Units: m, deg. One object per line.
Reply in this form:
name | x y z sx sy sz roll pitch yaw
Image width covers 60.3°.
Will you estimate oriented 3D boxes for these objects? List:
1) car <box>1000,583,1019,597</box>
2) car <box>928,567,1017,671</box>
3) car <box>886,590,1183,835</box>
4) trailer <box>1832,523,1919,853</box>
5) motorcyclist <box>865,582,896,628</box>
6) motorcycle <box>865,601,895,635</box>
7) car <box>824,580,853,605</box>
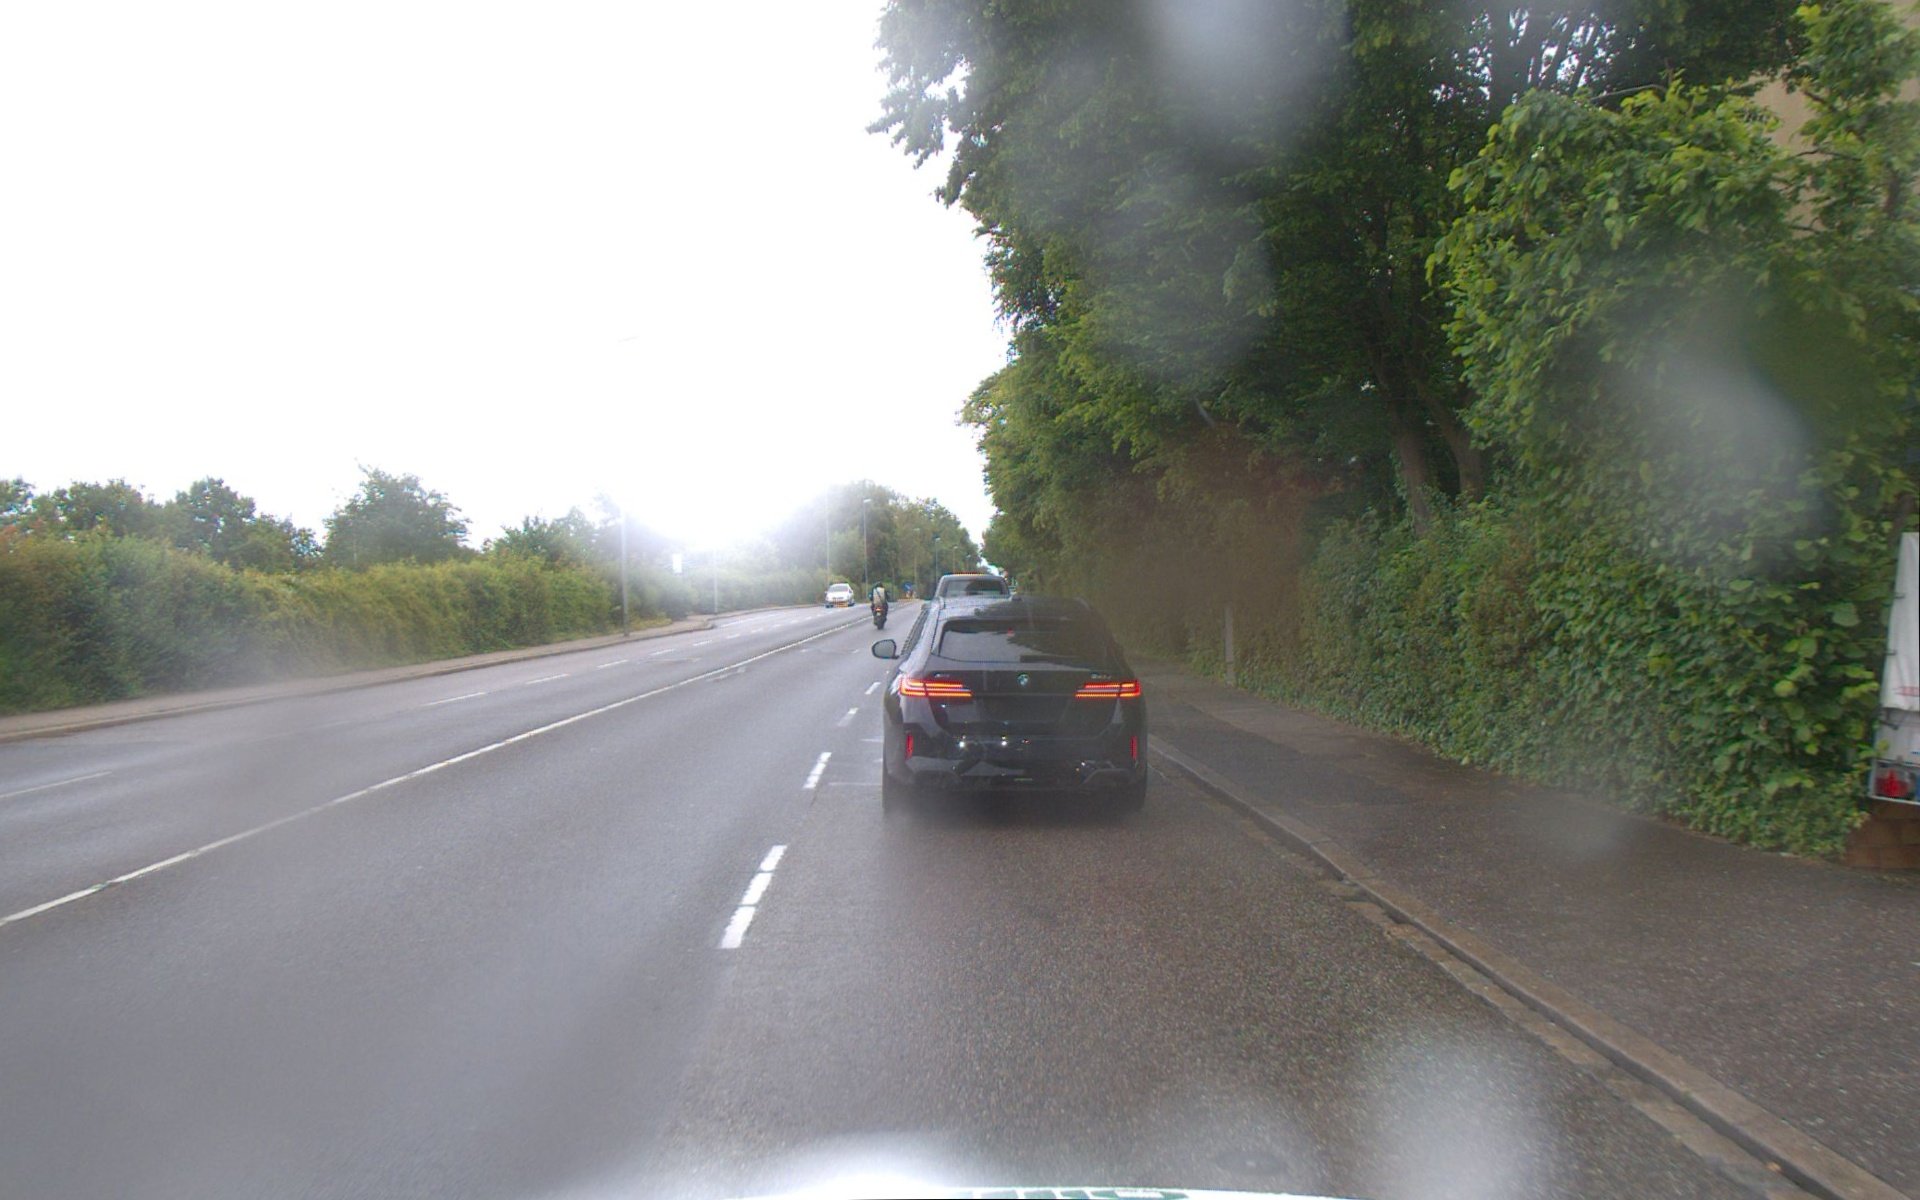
car | 5.433 -1.047 179.738 1.895 1.467 4.410 -1 0 3
car | 0.264 0.331 32.701 1.595 1.865 4.000 -2 1 1
car | 0.533 0.703 12.460 1.858 1.515 4.001 1 0 2
trailer | 6.119 0.591 7.977 2.923 1.597 1.487 7 -1 -4
motorcyclist | -2.789 0.190 58.019 1.018 1.595 0.855 1 -1 0
motorcycle | -2.794 0.633 58.069 0.858 1.144 2.741 1 0 1
car | -8.461 -0.527 115.135 1.720 1.595 3.999 -3 1 -1
